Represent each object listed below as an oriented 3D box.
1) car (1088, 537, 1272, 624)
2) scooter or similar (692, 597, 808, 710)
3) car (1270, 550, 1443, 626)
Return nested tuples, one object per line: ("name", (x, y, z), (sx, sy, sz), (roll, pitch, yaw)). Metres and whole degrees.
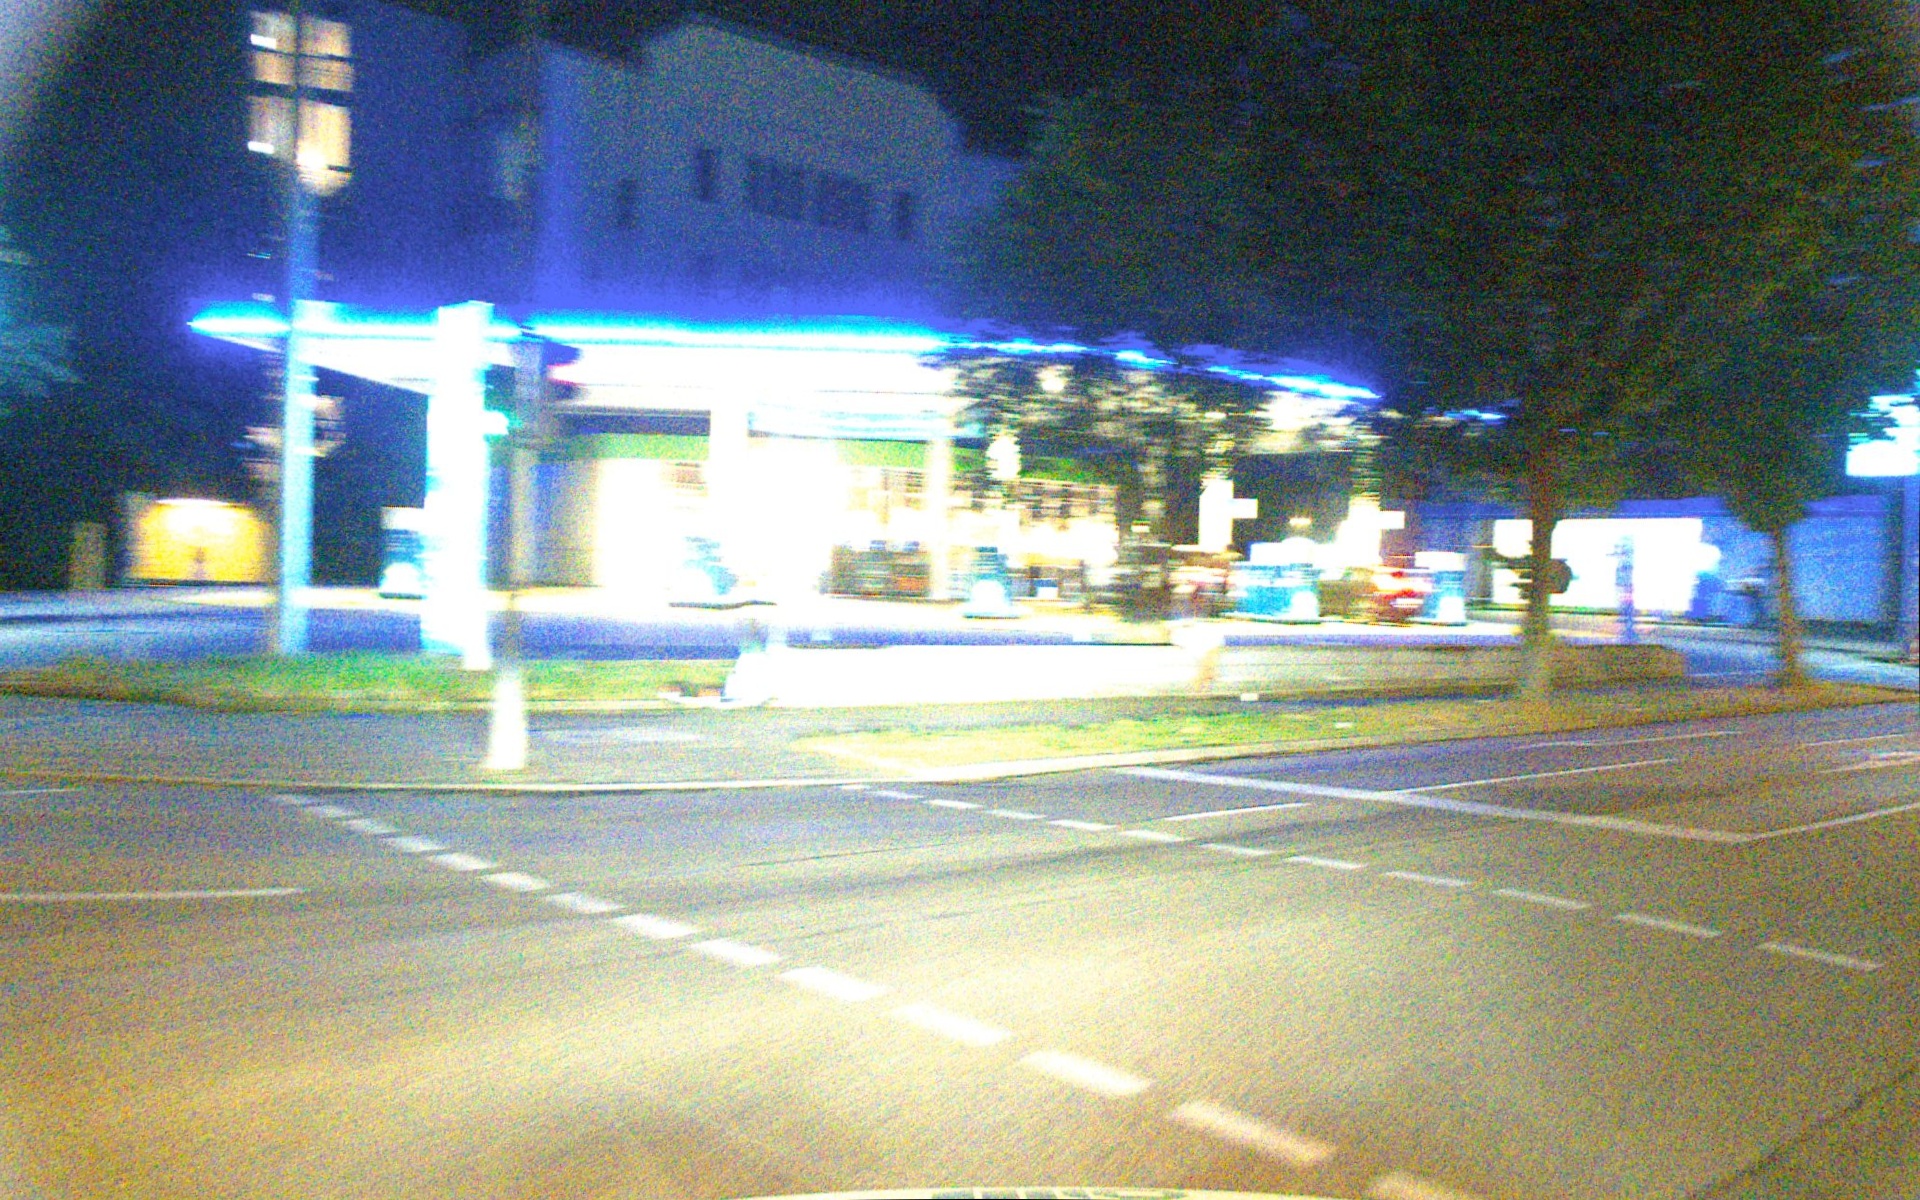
("car", (5.220, -0.495, 39.785), (1.978, 1.799, 4.197), (1, 3, -37))
("scooter or similar", (-2.241, 0.545, 17.832), (0.699, 1.111, 1.682), (1, 2, 12))
("car", (10.370, -0.334, 43.455), (1.983, 1.692, 3.940), (1, 3, -42))
